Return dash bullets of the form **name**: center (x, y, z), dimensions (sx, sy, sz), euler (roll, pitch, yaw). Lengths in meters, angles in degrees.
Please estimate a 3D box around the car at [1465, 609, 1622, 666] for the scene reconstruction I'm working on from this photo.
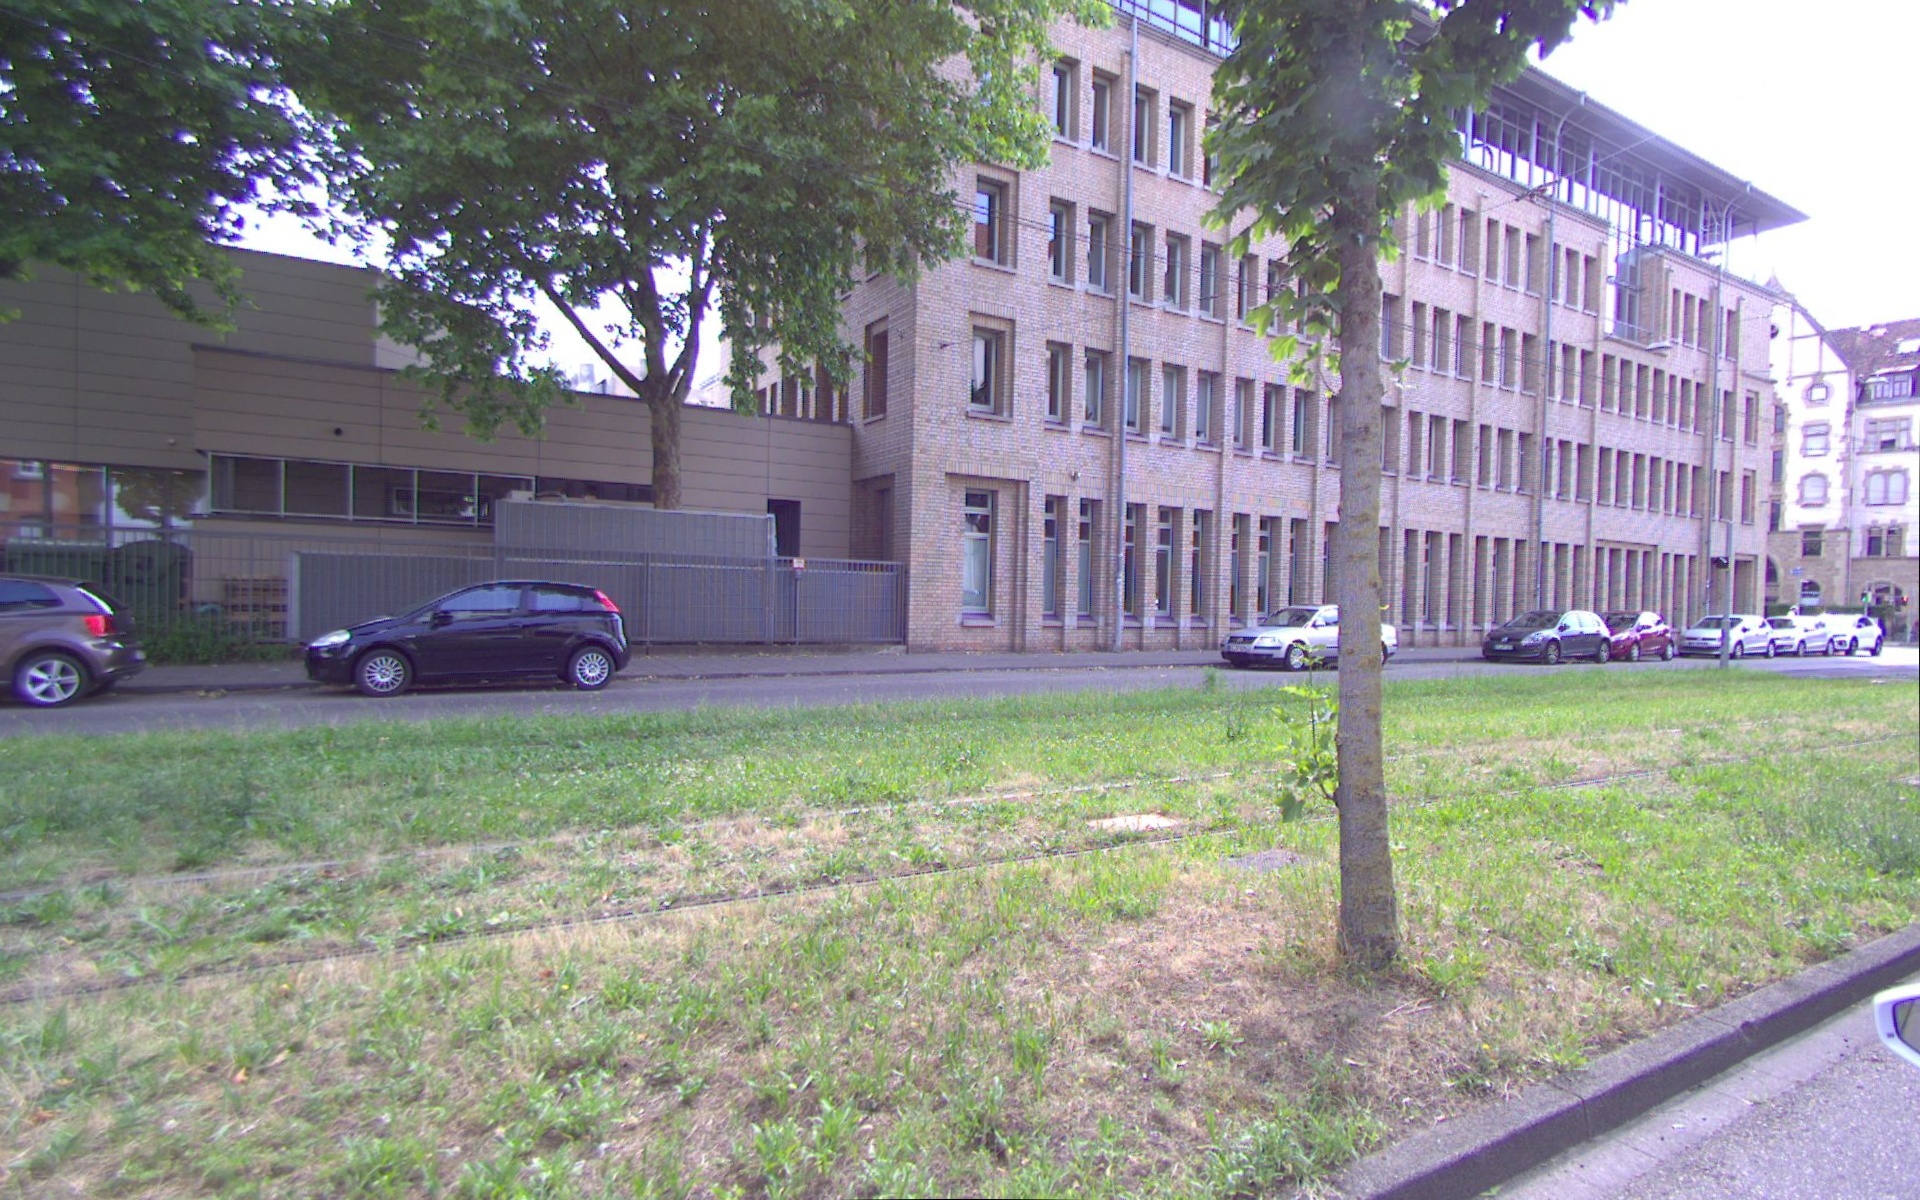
- **car**: center (16.167, 1.007, 27.796), dimensions (4.189, 1.415, 1.924), euler (1, 0, -30)

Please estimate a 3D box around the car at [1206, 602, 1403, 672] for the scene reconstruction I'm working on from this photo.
- **car**: center (7.794, 0.819, 22.616), dimensions (4.432, 1.415, 1.707), euler (1, 0, -30)

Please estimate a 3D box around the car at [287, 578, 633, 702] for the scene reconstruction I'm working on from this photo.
- **car**: center (-6.649, 0.497, 13.650), dimensions (3.950, 1.472, 1.795), euler (1, 0, -28)

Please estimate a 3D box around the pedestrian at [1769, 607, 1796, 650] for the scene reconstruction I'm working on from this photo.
- **pedestrian**: center (36.324, 1.252, 44.370), dimensions (0.749, 1.819, 0.957), euler (2, 1, 34)

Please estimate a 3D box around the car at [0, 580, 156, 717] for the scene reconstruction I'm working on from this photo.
- **car**: center (-11.286, 0.491, 10.842), dimensions (3.857, 1.445, 1.546), euler (1, 1, -31)

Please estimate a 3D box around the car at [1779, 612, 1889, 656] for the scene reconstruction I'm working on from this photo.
- **car**: center (33.777, 1.303, 38.807), dimensions (4.207, 1.555, 1.924), euler (1, 0, -30)

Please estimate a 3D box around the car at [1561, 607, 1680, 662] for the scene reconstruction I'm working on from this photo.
- **car**: center (19.874, 1.022, 30.192), dimensions (3.507, 1.551, 1.575), euler (1, 1, -30)

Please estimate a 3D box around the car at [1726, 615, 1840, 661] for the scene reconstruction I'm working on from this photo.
- **car**: center (29.886, 1.364, 36.457), dimensions (3.967, 1.551, 1.924), euler (1, 0, -30)

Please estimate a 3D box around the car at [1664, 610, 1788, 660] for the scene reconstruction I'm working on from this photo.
- **car**: center (25.734, 1.156, 33.733), dimensions (4.160, 1.551, 1.842), euler (1, 1, -30)
